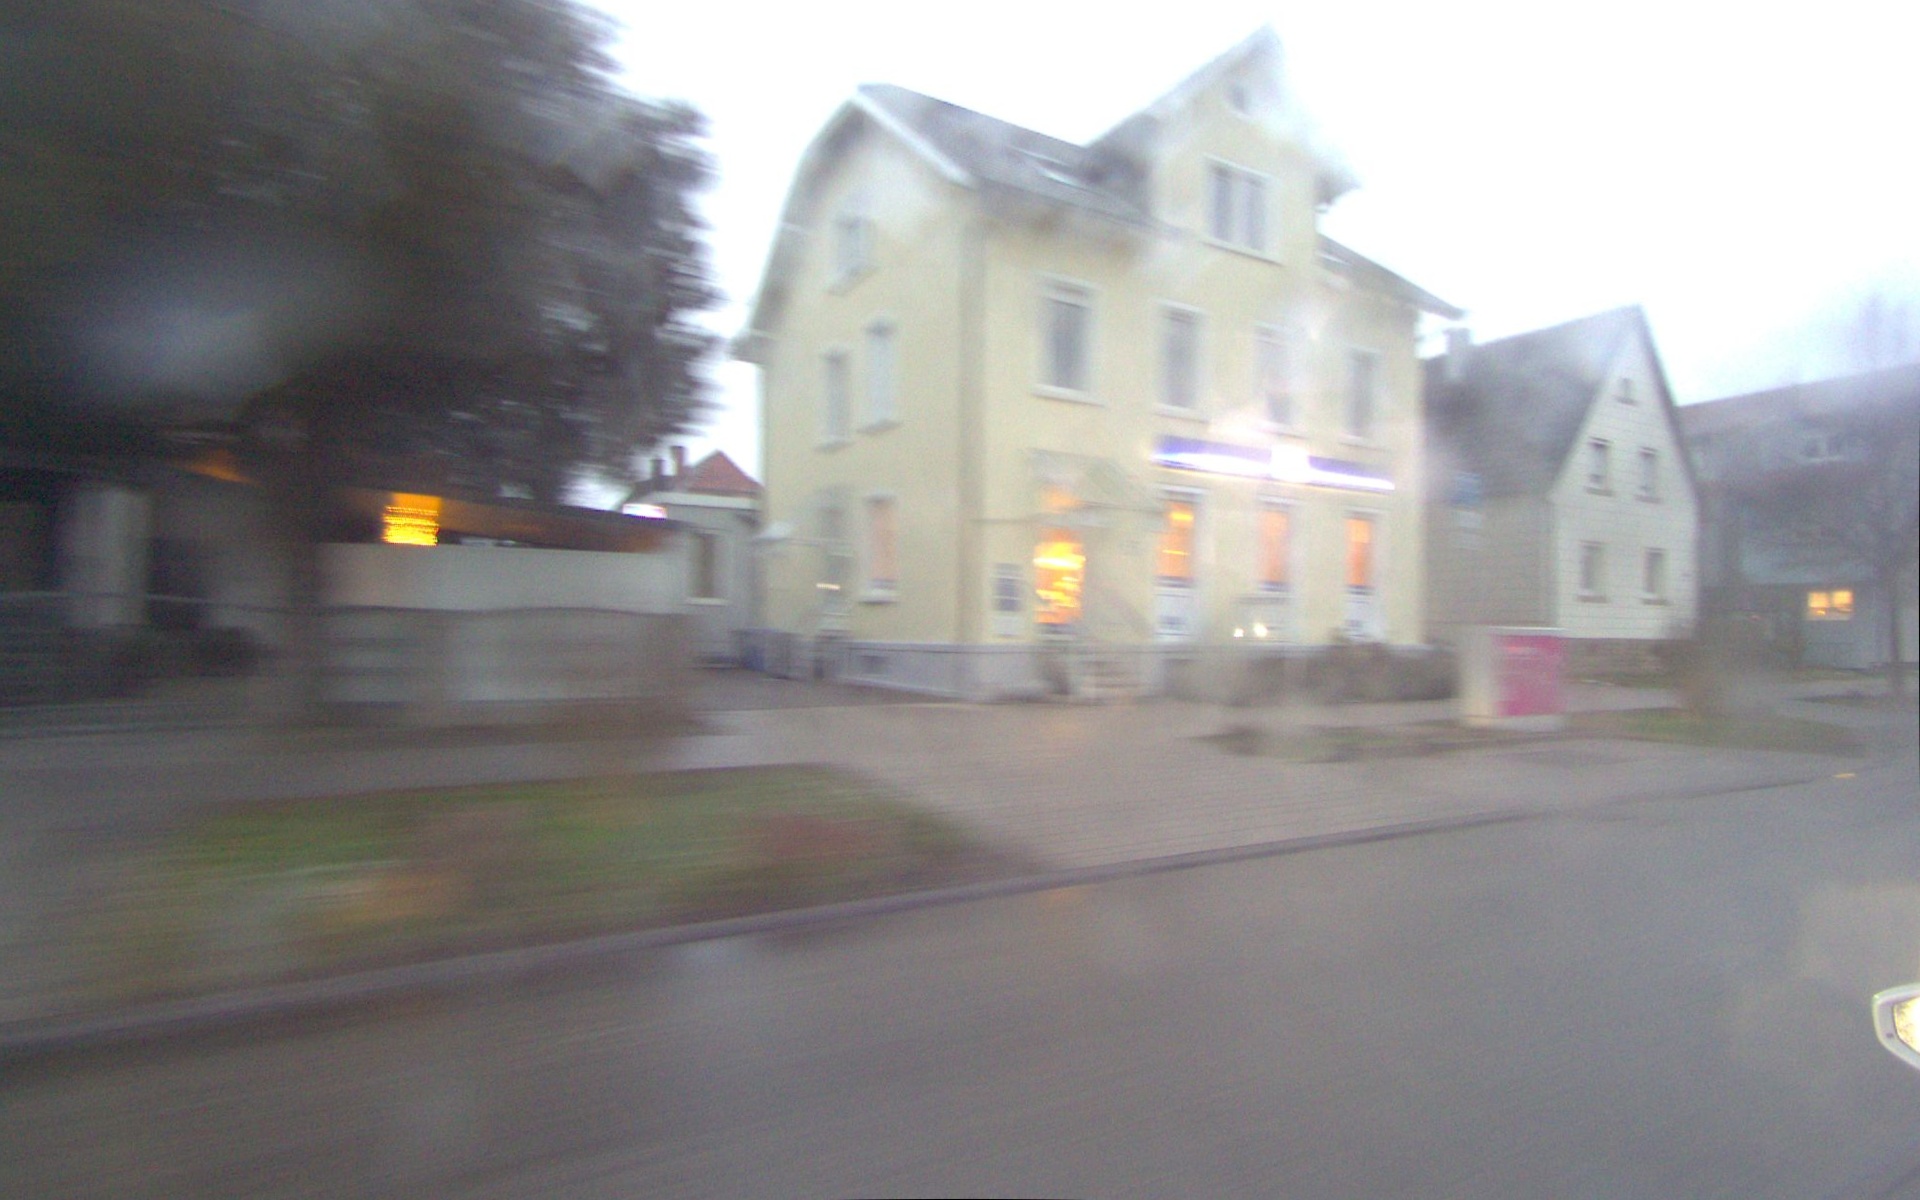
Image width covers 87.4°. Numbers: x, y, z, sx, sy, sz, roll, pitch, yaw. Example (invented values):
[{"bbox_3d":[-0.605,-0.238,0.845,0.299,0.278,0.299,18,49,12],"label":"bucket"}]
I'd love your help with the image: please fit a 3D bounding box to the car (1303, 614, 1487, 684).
[{"bbox_3d":[10.918,1.164,25.463,1.899,1.621,3.968,1,-1,-30],"label":"car"}]
